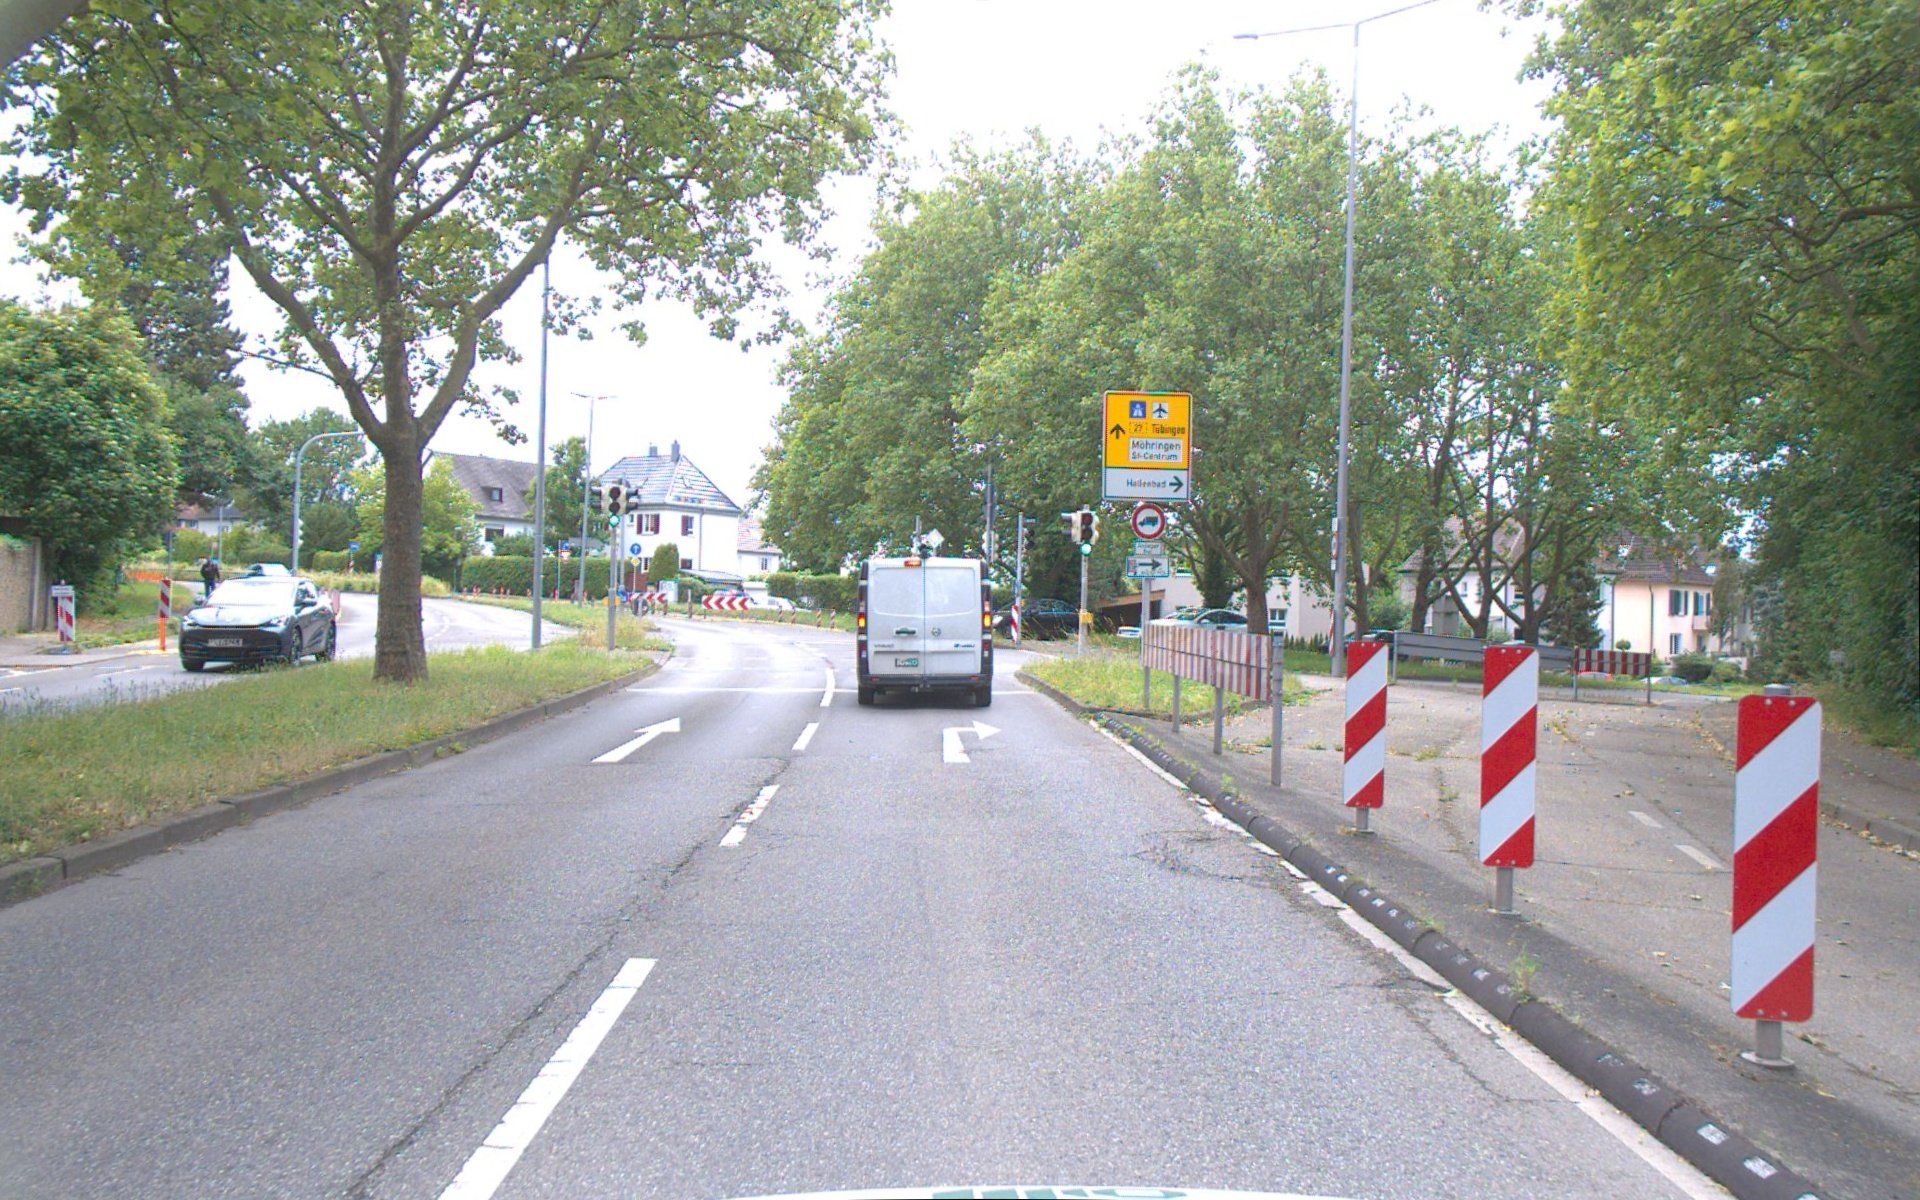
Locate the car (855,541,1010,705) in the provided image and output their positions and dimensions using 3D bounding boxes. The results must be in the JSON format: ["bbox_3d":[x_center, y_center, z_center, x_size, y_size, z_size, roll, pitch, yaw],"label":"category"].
[{"bbox_3d":[-0.493,0.306,23.865,1.966,2.073,5.006,1,0,-3],"label":"car"}]

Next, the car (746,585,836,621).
[{"bbox_3d":[-9.263,0.178,90.407,4.645,1.800,1.995,2,0,32],"label":"car"}]

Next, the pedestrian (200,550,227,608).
[{"bbox_3d":[-27.538,-0.781,61.019,0.728,2.048,0.630,3,1,-17],"label":"pedestrian"}]

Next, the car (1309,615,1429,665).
[{"bbox_3d":[15.909,1.556,64.189,4.693,1.800,1.974,2,0,-37],"label":"car"}]

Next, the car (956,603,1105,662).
[{"bbox_3d":[2.357,1.077,54.339,4.693,1.800,1.974,2,0,-37],"label":"car"}]

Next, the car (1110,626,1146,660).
[{"bbox_3d":[9.384,2.392,92.683,1.868,1.774,3.773,2,0,4],"label":"car"}]

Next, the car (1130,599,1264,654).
[{"bbox_3d":[8.438,0.960,58.734,4.693,1.800,1.974,2,0,-37],"label":"car"}]

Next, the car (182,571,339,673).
[{"bbox_3d":[-12.452,0.391,29.696,1.915,1.653,4.413,2,-1,-15],"label":"car"}]
